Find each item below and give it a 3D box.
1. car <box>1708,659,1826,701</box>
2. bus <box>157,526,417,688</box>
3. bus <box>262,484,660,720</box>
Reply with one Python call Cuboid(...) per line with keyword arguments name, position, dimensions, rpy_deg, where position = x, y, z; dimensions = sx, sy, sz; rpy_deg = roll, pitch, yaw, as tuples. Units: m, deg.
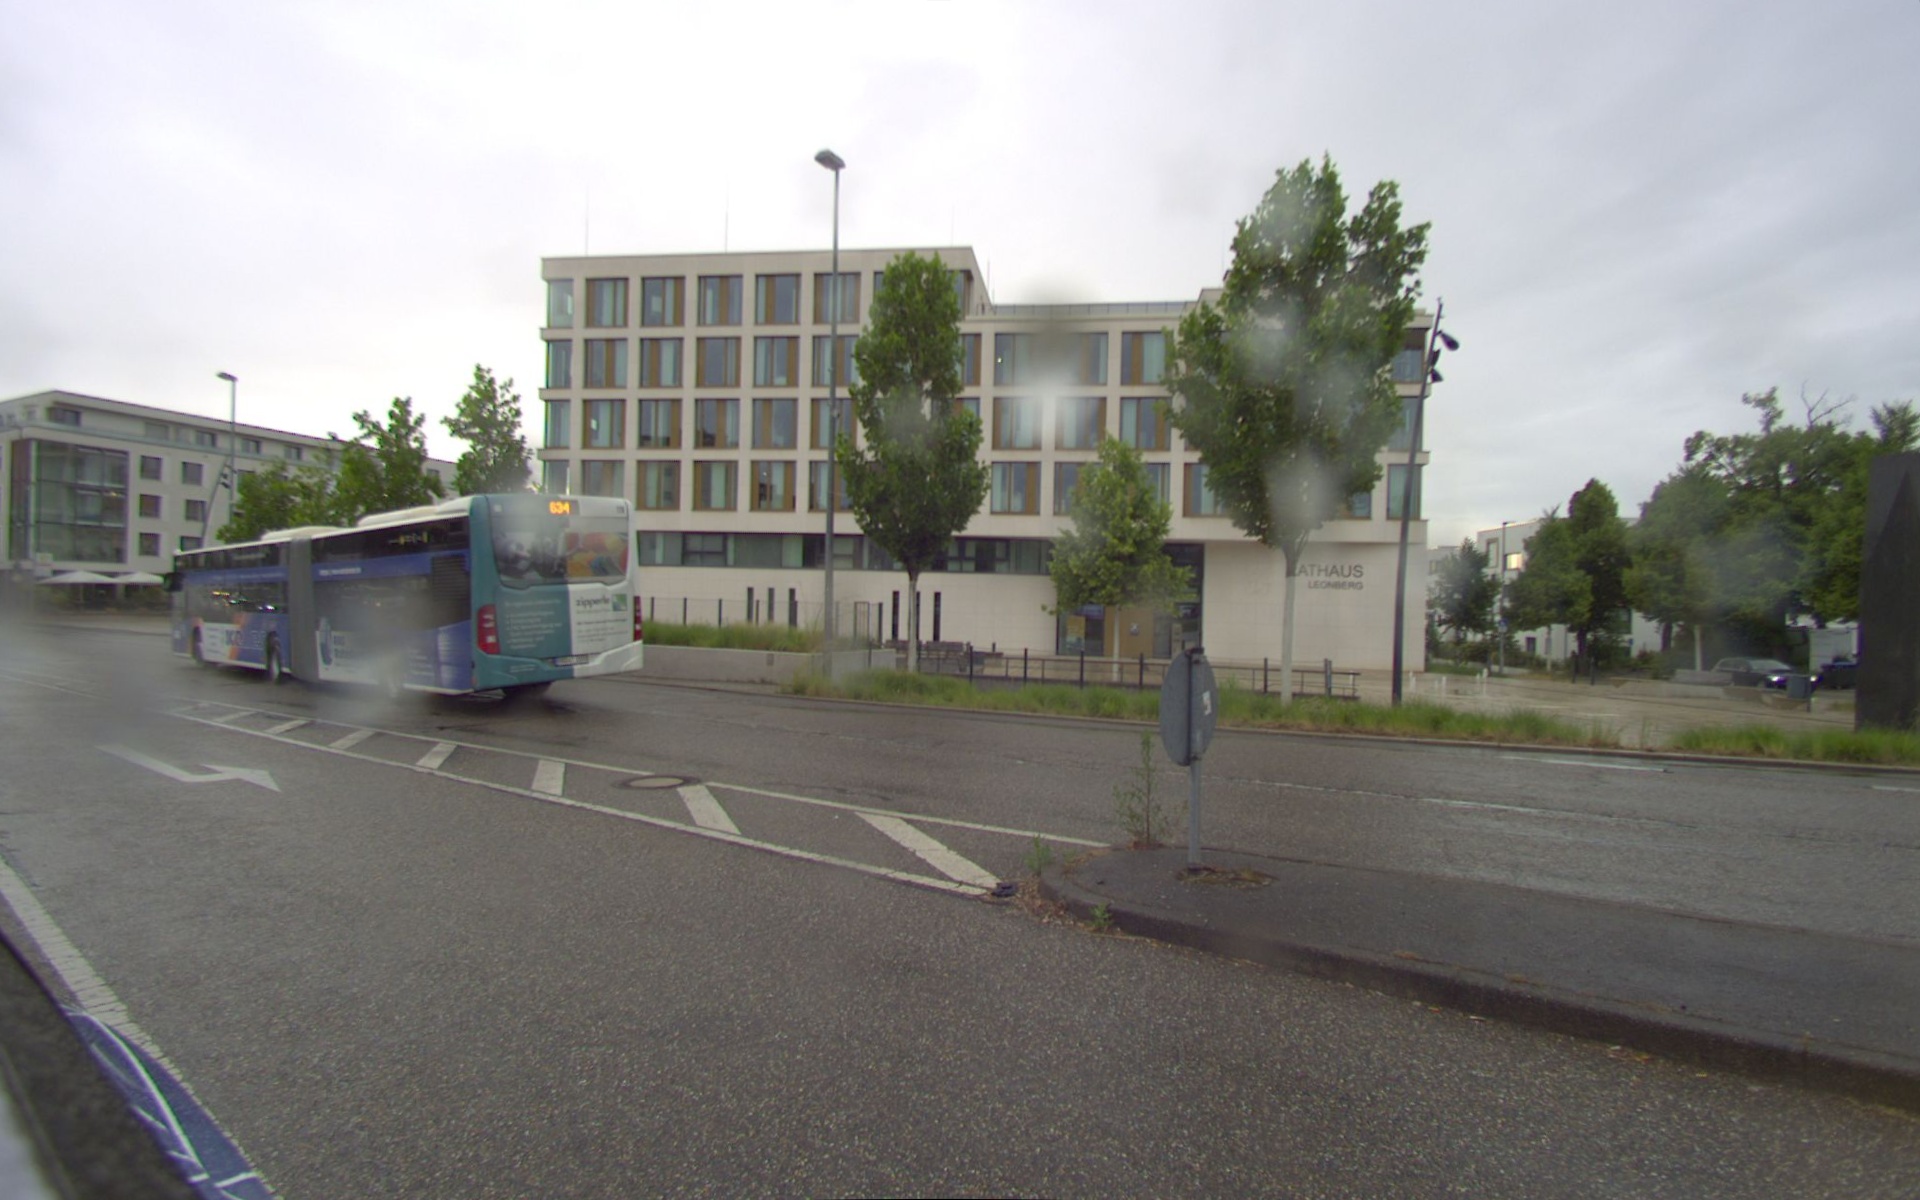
Cuboid(name="car", position=(31.443, 3.074, 39.590), dimensions=(1.771, 1.401, 4.266), rpy_deg=(0, -2, 11))
Cuboid(name="bus", position=(-15.943, 0.202, 23.618), dimensions=(8.879, 3.138, 2.762), rpy_deg=(-1, -2, 41))
Cuboid(name="bus", position=(-9.066, 0.091, 17.587), dimensions=(9.362, 3.138, 2.748), rpy_deg=(-1, -2, 41))
